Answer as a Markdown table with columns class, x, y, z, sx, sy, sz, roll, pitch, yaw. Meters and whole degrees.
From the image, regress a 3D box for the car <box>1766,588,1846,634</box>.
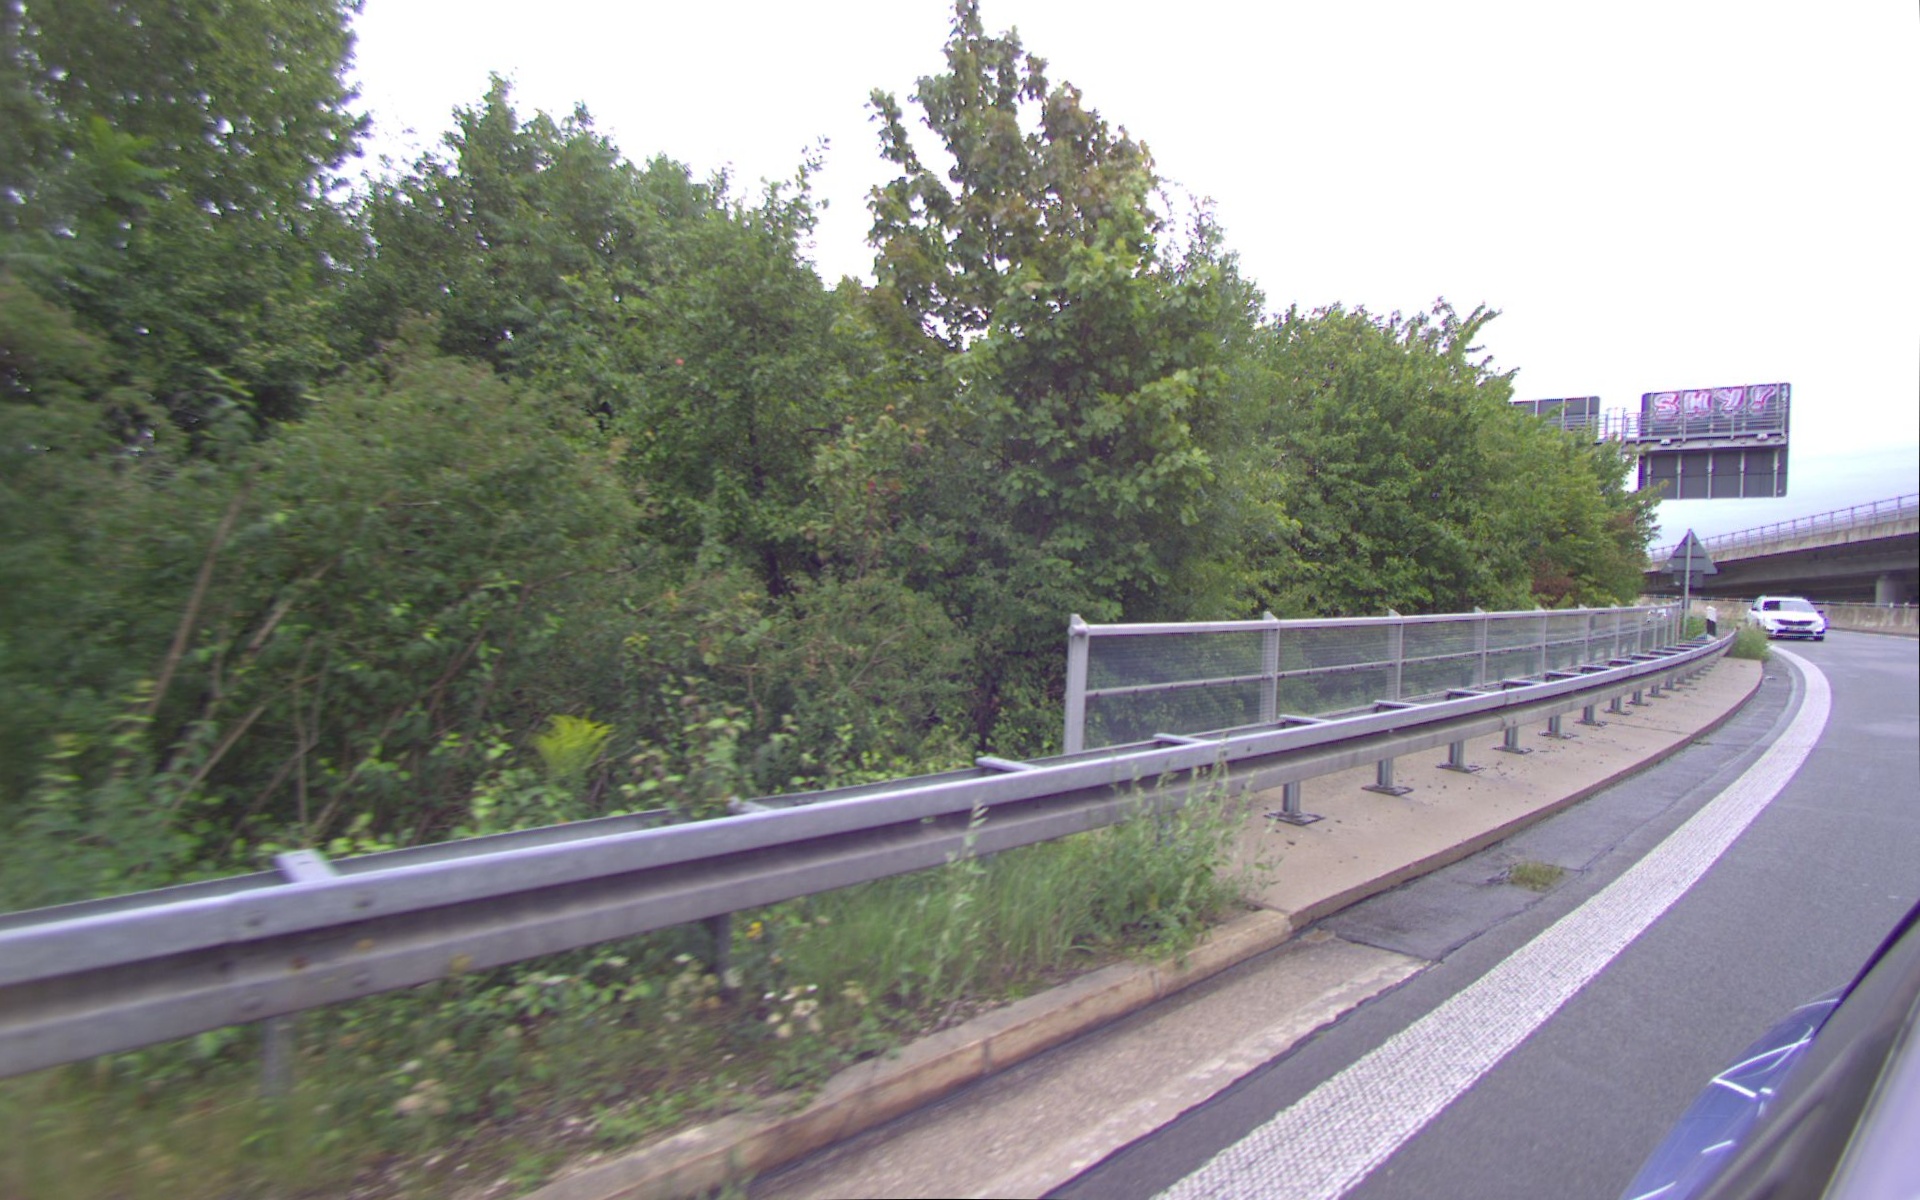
| class | x | y | z | sx | sy | sz | roll | pitch | yaw |
| --- | --- | --- | --- | --- | --- | --- | --- | --- | --- |
| car | 29.318 | 0.359 | 35.174 | 1.906 | 1.466 | 4.494 | 2 | 1 | 38 |
